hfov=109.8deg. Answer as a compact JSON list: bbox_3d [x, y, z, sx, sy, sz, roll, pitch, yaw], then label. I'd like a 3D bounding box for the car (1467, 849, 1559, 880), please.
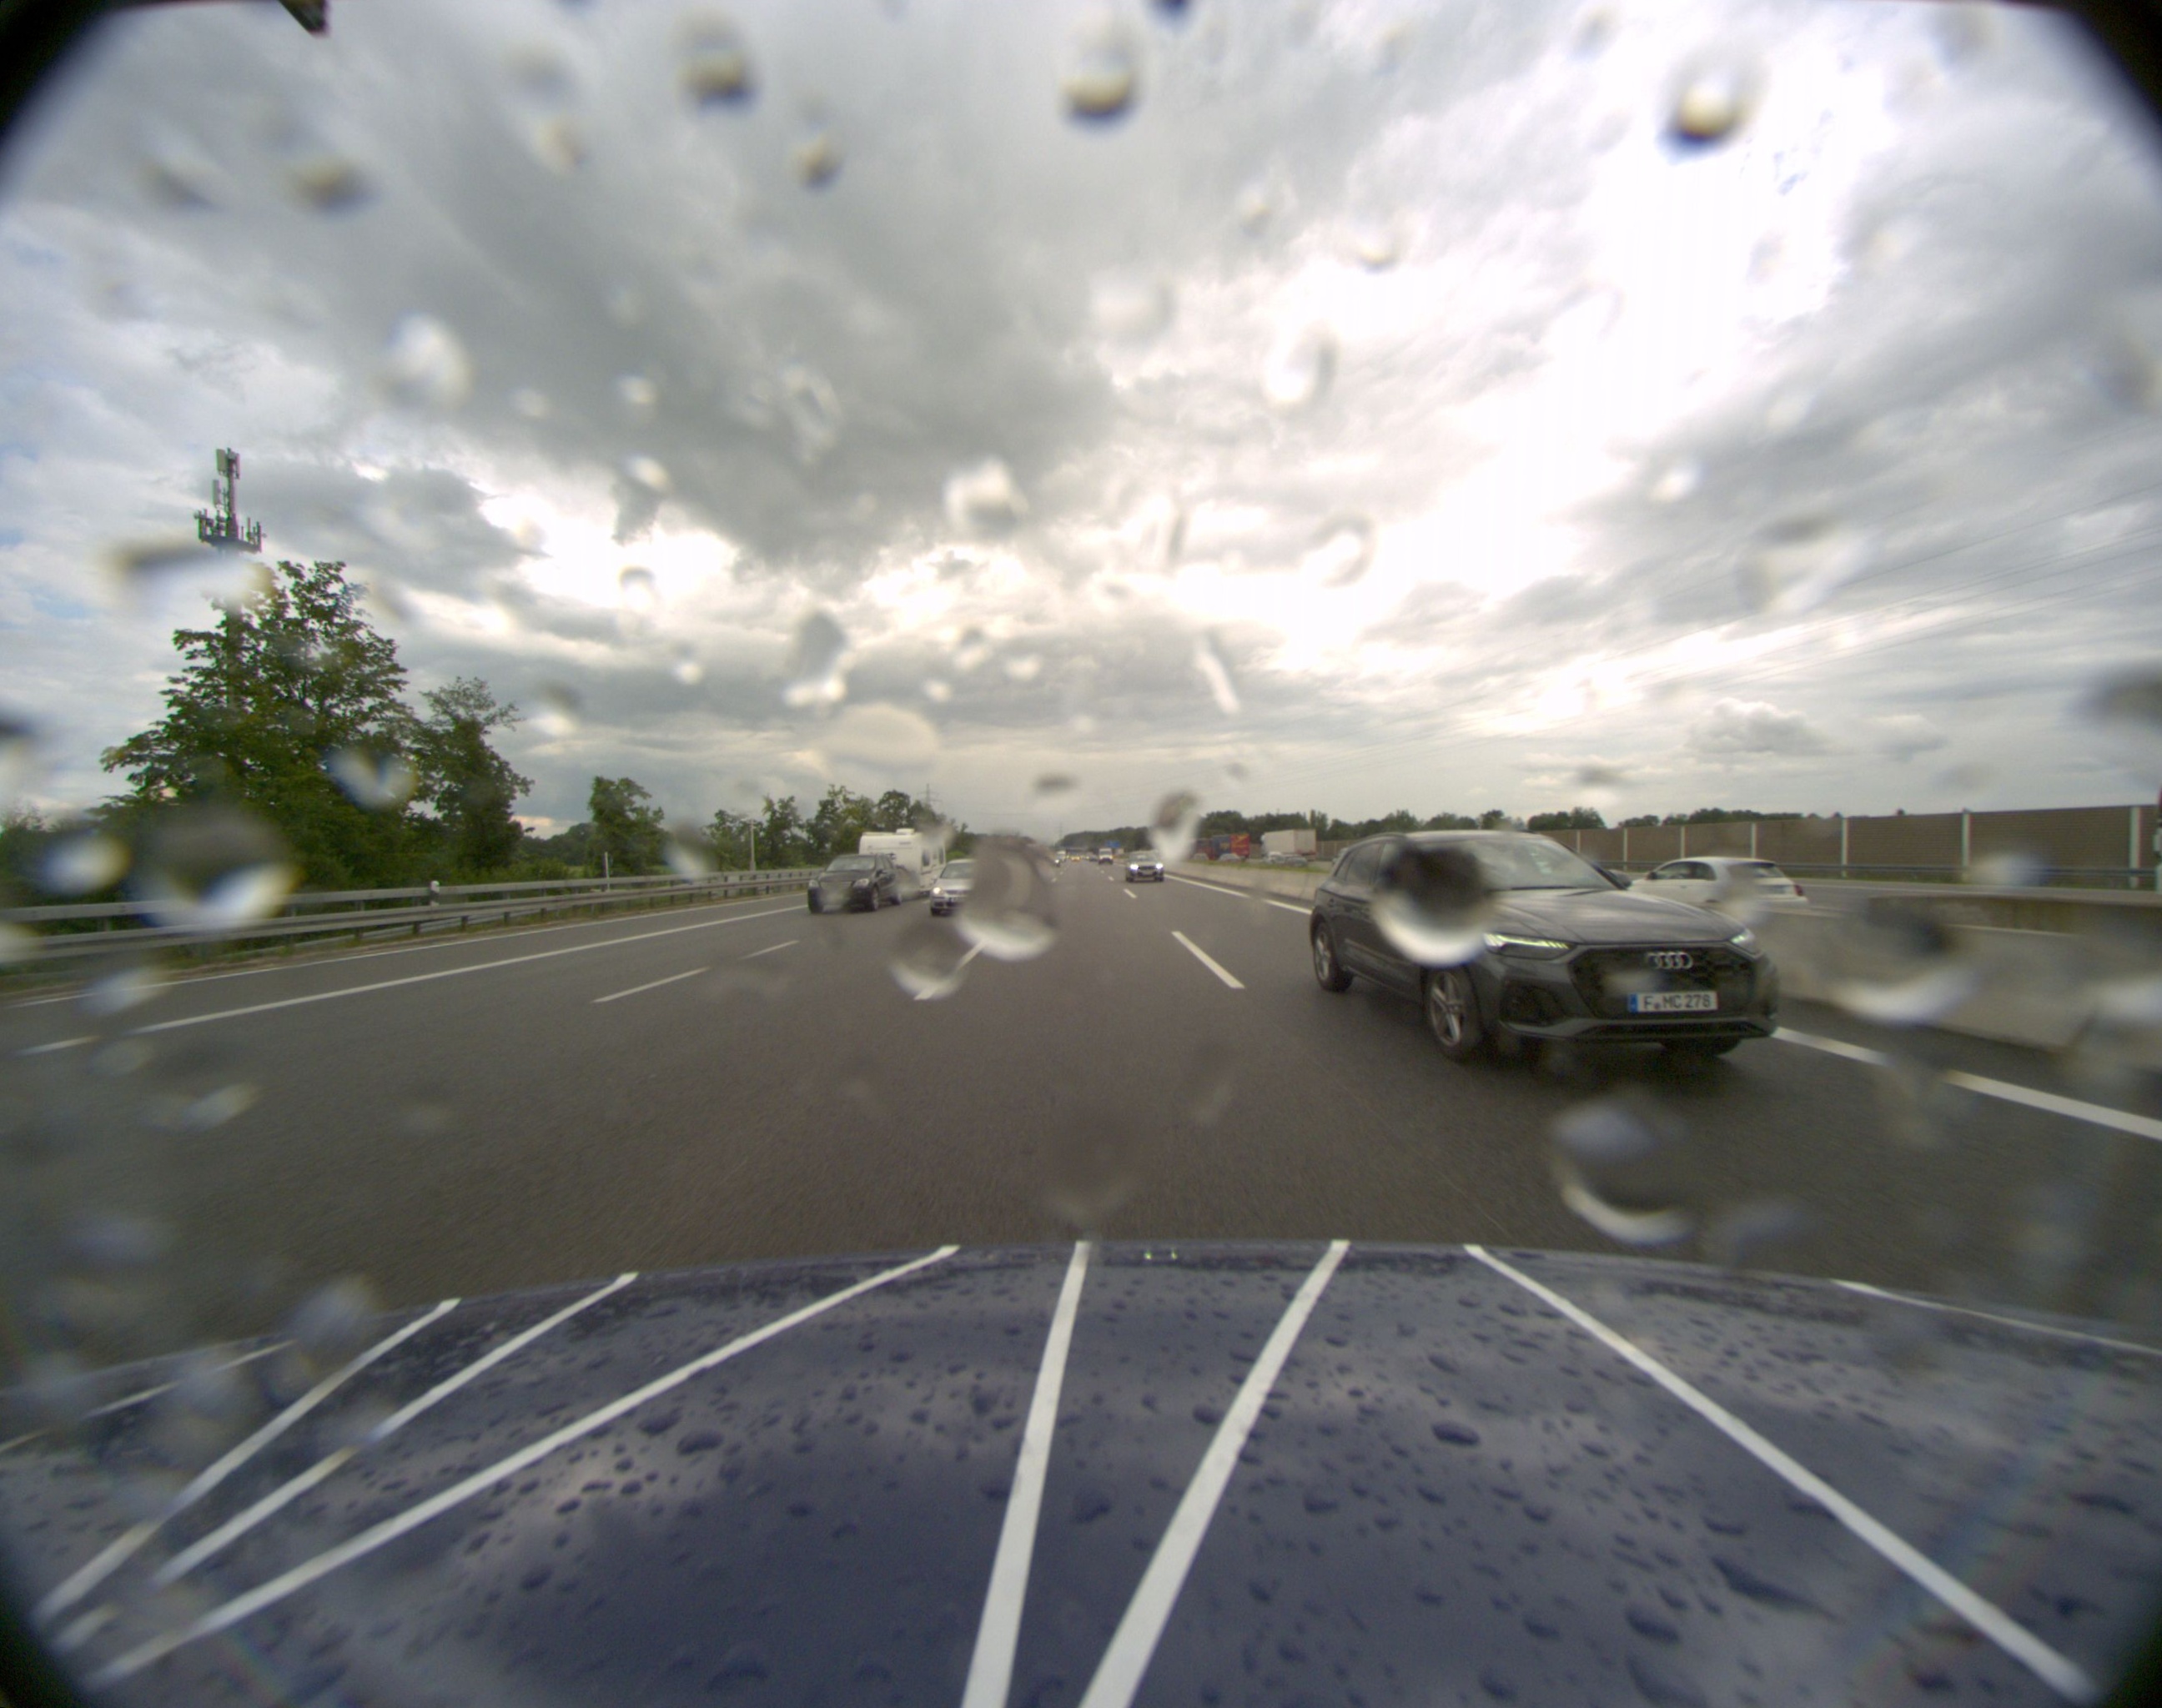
[{"bbox_3d":[21.663,0.494,38.326,1.792,1.373,4.860,-2,0,-1],"label":"car"}]

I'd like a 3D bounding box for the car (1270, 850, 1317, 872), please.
[{"bbox_3d":[14.631,0.456,52.605,1.792,1.373,4.860,-2,0,-1],"label":"car"}]

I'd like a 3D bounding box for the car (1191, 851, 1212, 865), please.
[{"bbox_3d":[13.850,0.432,87.546,1.721,1.514,4.212,-2,0,-1],"label":"car"}]

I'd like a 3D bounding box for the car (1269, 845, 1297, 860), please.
[{"bbox_3d":[22.483,-0.159,84.809,1.792,1.582,4.581,-2,0,-1],"label":"car"}]

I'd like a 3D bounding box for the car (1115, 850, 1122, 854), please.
[{"bbox_3d":[12.566,-0.689,255.768,1.999,1.517,4.739,-2,0,-2],"label":"car"}]

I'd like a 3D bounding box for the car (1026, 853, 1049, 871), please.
[{"bbox_3d":[-3.893,0.706,68.091,1.841,1.437,3.999,-2,0,0],"label":"car"}]

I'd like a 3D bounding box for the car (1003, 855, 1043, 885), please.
[{"bbox_3d":[-2.955,0.782,39.281,1.717,1.437,3.999,-2,0,0],"label":"car"}]

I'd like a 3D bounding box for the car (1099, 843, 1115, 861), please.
[{"bbox_3d":[3.791,-0.305,111.093,1.999,2.524,4.807,-2,0,-1],"label":"car"}]

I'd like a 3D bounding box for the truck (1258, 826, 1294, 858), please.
[{"bbox_3d":[26.297,-1.595,102.782,2.908,4.092,6.621,-2,1,-1],"label":"truck"}]

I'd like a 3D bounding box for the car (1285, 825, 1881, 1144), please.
[{"bbox_3d":[3.407,0.695,6.695,1.913,1.681,5.168,-2,0,1],"label":"car"}]

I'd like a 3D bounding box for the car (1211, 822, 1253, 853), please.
[{"bbox_3d":[21.630,-2.248,109.928,2.990,4.100,14.393,-2,0,-1],"label":"car"}]

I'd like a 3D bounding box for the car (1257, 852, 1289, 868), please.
[{"bbox_3d":[18.194,0.534,72.063,1.721,1.418,4.860,-2,0,-1],"label":"car"}]

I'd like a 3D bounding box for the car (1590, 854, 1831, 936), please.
[{"bbox_3d":[13.823,0.800,17.095,1.741,1.530,4.376,-2,0,-1],"label":"car"}]

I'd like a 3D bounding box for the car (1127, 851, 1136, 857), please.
[{"bbox_3d":[12.995,-0.034,195.357,1.792,1.446,4.564,-2,0,-1],"label":"car"}]

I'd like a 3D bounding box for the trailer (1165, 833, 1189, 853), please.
[{"bbox_3d":[21.467,-2.466,170.363,3.669,4.084,13.398,-2,0,0],"label":"trailer"}]

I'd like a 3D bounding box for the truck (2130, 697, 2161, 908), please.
[{"bbox_3d":[21.660,-1.001,10.859,2.893,3.938,7.535,-2,0,0],"label":"truck"}]

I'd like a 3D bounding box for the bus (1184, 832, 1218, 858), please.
[{"bbox_3d":[18.204,-1.290,116.176,2.897,3.590,12.757,-2,0,-1],"label":"bus"}]

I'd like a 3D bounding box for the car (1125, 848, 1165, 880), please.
[{"bbox_3d":[3.416,0.509,41.426,1.840,1.615,4.915,-2,0,2],"label":"car"}]

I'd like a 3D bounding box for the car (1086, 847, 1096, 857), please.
[{"bbox_3d":[2.022,-0.437,159.538,1.999,2.002,3.999,-2,0,-1],"label":"car"}]

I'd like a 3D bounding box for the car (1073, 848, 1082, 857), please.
[{"bbox_3d":[-0.815,-0.383,173.449,1.999,2.002,3.999,-2,0,-1],"label":"car"}]

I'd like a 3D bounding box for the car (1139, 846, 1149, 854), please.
[{"bbox_3d":[17.355,-1.125,210.487,2.286,1.956,6.086,-2,0,1],"label":"car"}]

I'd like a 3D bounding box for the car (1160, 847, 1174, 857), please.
[{"bbox_3d":[14.623,-0.382,129.645,1.792,1.656,4.295,-2,0,-1],"label":"car"}]

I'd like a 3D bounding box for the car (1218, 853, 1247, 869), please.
[{"bbox_3d":[14.752,0.644,74.297,1.721,1.418,4.860,-2,0,-1],"label":"car"}]

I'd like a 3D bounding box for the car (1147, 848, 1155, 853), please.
[{"bbox_3d":[20.964,-0.946,228.596,1.792,1.460,4.564,-2,0,-1],"label":"car"}]

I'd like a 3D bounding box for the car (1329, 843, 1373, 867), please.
[{"bbox_3d":[21.458,0.056,60.536,1.795,1.729,4.577,-2,0,-1],"label":"car"}]

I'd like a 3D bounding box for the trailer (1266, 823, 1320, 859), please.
[{"bbox_3d":[26.391,-1.555,95.259,2.908,4.092,12.697,-2,0,-1],"label":"trailer"}]

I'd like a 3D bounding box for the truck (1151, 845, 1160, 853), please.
[{"bbox_3d":[24.143,-1.605,247.273,2.108,2.437,6.263,-2,0,-1],"label":"truck"}]

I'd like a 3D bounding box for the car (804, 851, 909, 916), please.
[{"bbox_3d":[-6.938,0.837,24.006,1.925,1.766,4.502,-2,0,0],"label":"car"}]

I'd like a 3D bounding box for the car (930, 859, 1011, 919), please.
[{"bbox_3d":[-3.022,0.909,21.534,1.683,1.437,3.999,-2,0,0],"label":"car"}]

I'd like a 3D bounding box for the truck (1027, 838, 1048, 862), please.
[{"bbox_3d":[-6.995,-0.722,123.127,2.870,3.633,9.593,-2,0,0],"label":"truck"}]

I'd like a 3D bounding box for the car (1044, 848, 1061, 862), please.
[{"bbox_3d":[-3.632,0.091,96.906,1.999,1.701,3.999,-2,0,-1],"label":"car"}]

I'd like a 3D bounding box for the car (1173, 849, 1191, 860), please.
[{"bbox_3d":[14.595,0.047,109.854,1.792,1.524,4.564,-2,0,-1],"label":"car"}]

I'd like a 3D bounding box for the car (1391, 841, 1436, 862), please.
[{"bbox_3d":[26.722,-0.214,61.153,1.792,1.588,3.955,-2,0,-1],"label":"car"}]

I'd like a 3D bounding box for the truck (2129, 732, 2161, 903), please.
[{"bbox_3d":[26.213,-0.819,14.056,3.036,3.910,7.710,-1,1,1],"label":"truck"}]

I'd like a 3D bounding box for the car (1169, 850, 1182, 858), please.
[{"bbox_3d":[18.142,-0.082,146.343,1.792,1.446,4.564,-2,0,-1],"label":"car"}]

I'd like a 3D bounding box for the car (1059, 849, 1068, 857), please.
[{"bbox_3d":[-4.195,-0.272,183.969,1.999,2.002,3.999,-2,0,-1],"label":"car"}]

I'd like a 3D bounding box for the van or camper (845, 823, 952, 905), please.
[{"bbox_3d":[-6.913,0.323,29.874,2.390,2.723,7.208,-2,0,0],"label":"van or camper"}]
